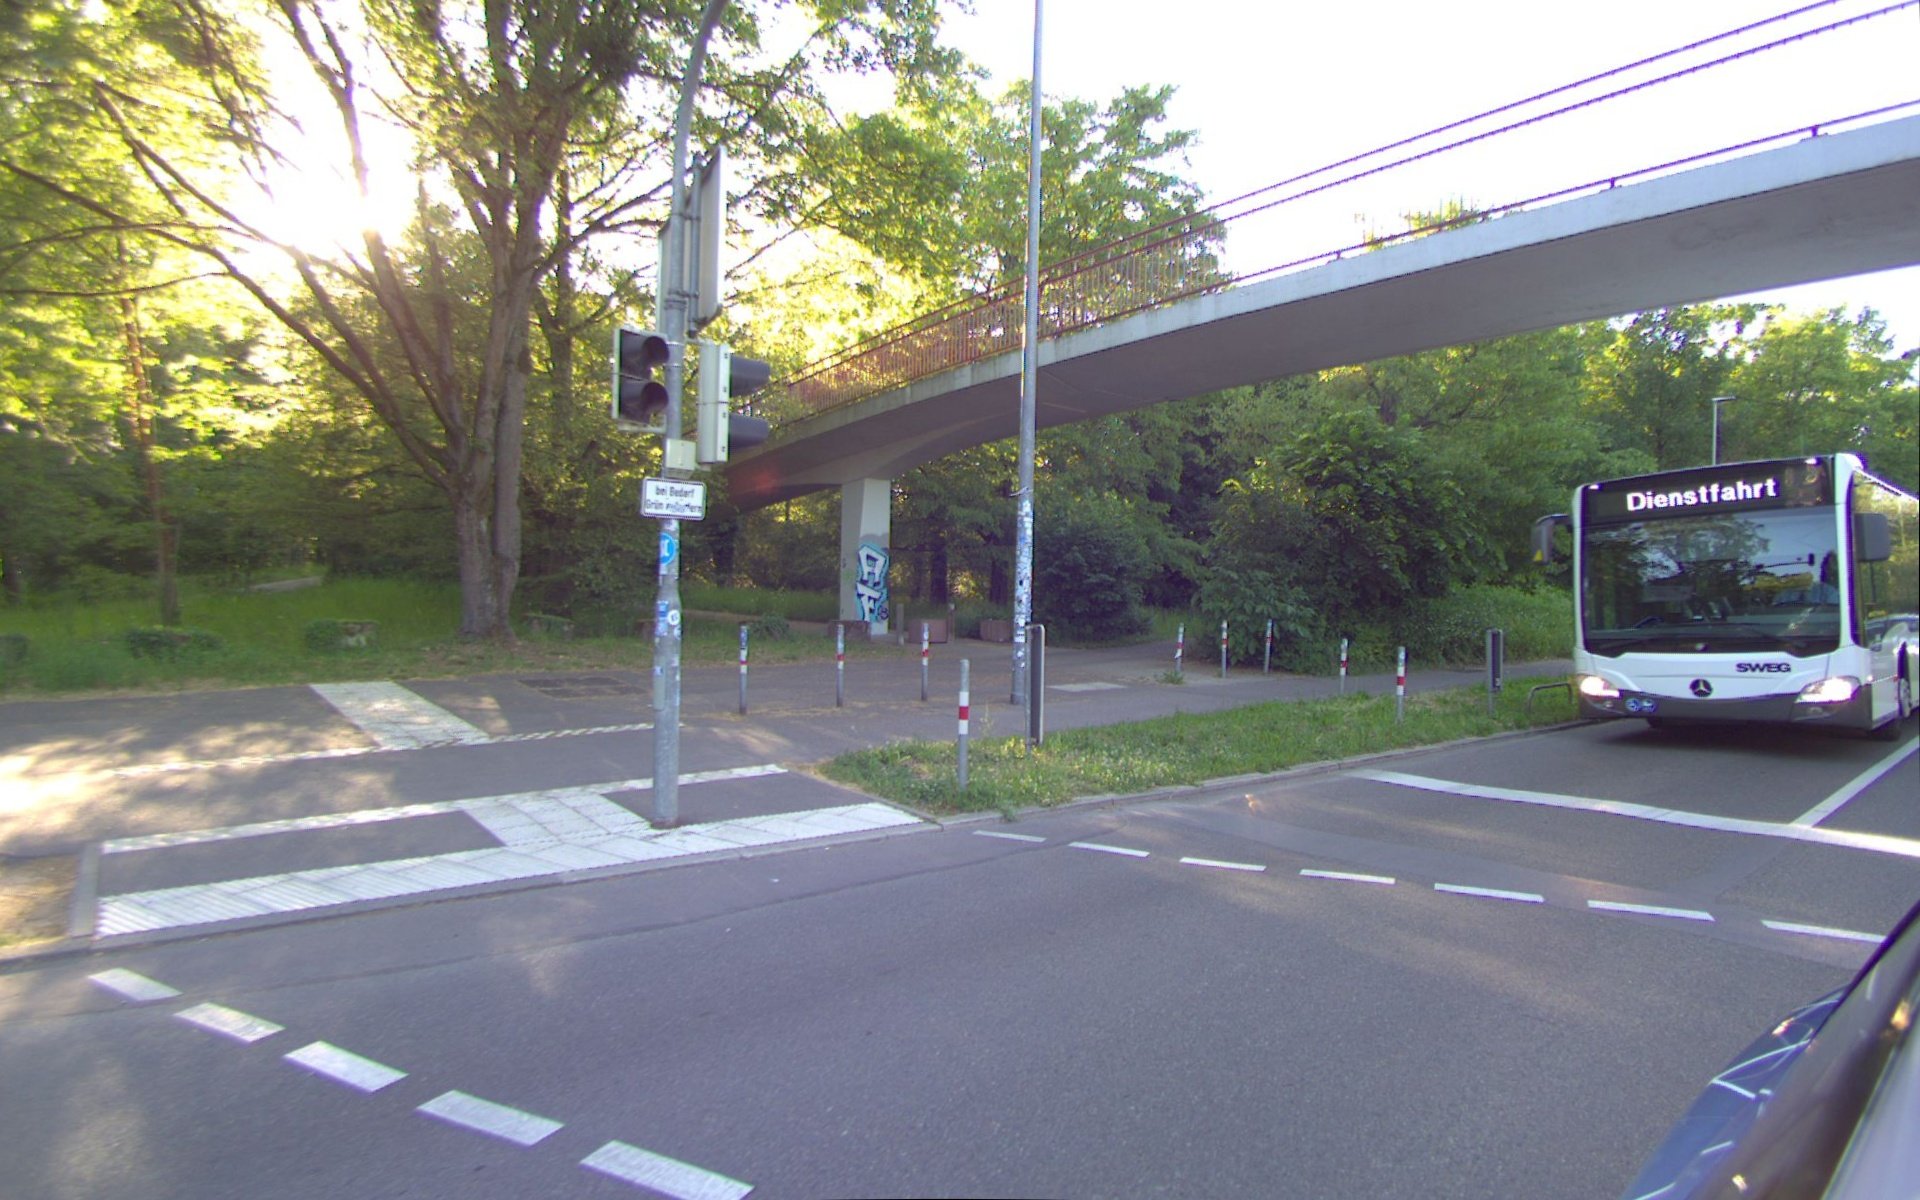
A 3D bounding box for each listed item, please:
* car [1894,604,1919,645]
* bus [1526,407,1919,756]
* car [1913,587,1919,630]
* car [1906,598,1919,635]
[{"bbox_3d":[38.229,0.968,39.802,4.319,1.526,1.736,0,2,-41],"label":"car"},{"bbox_3d":[11.928,-0.147,14.163,12.055,3.127,3.016,0,-2,-41],"label":"bus"},{"bbox_3d":[47.118,0.416,48.224,4.953,2.000,2.016,0,2,-41],"label":"car"},{"bbox_3d":[42.352,0.717,43.706,4.319,1.526,1.736,0,2,-41],"label":"car"}]
